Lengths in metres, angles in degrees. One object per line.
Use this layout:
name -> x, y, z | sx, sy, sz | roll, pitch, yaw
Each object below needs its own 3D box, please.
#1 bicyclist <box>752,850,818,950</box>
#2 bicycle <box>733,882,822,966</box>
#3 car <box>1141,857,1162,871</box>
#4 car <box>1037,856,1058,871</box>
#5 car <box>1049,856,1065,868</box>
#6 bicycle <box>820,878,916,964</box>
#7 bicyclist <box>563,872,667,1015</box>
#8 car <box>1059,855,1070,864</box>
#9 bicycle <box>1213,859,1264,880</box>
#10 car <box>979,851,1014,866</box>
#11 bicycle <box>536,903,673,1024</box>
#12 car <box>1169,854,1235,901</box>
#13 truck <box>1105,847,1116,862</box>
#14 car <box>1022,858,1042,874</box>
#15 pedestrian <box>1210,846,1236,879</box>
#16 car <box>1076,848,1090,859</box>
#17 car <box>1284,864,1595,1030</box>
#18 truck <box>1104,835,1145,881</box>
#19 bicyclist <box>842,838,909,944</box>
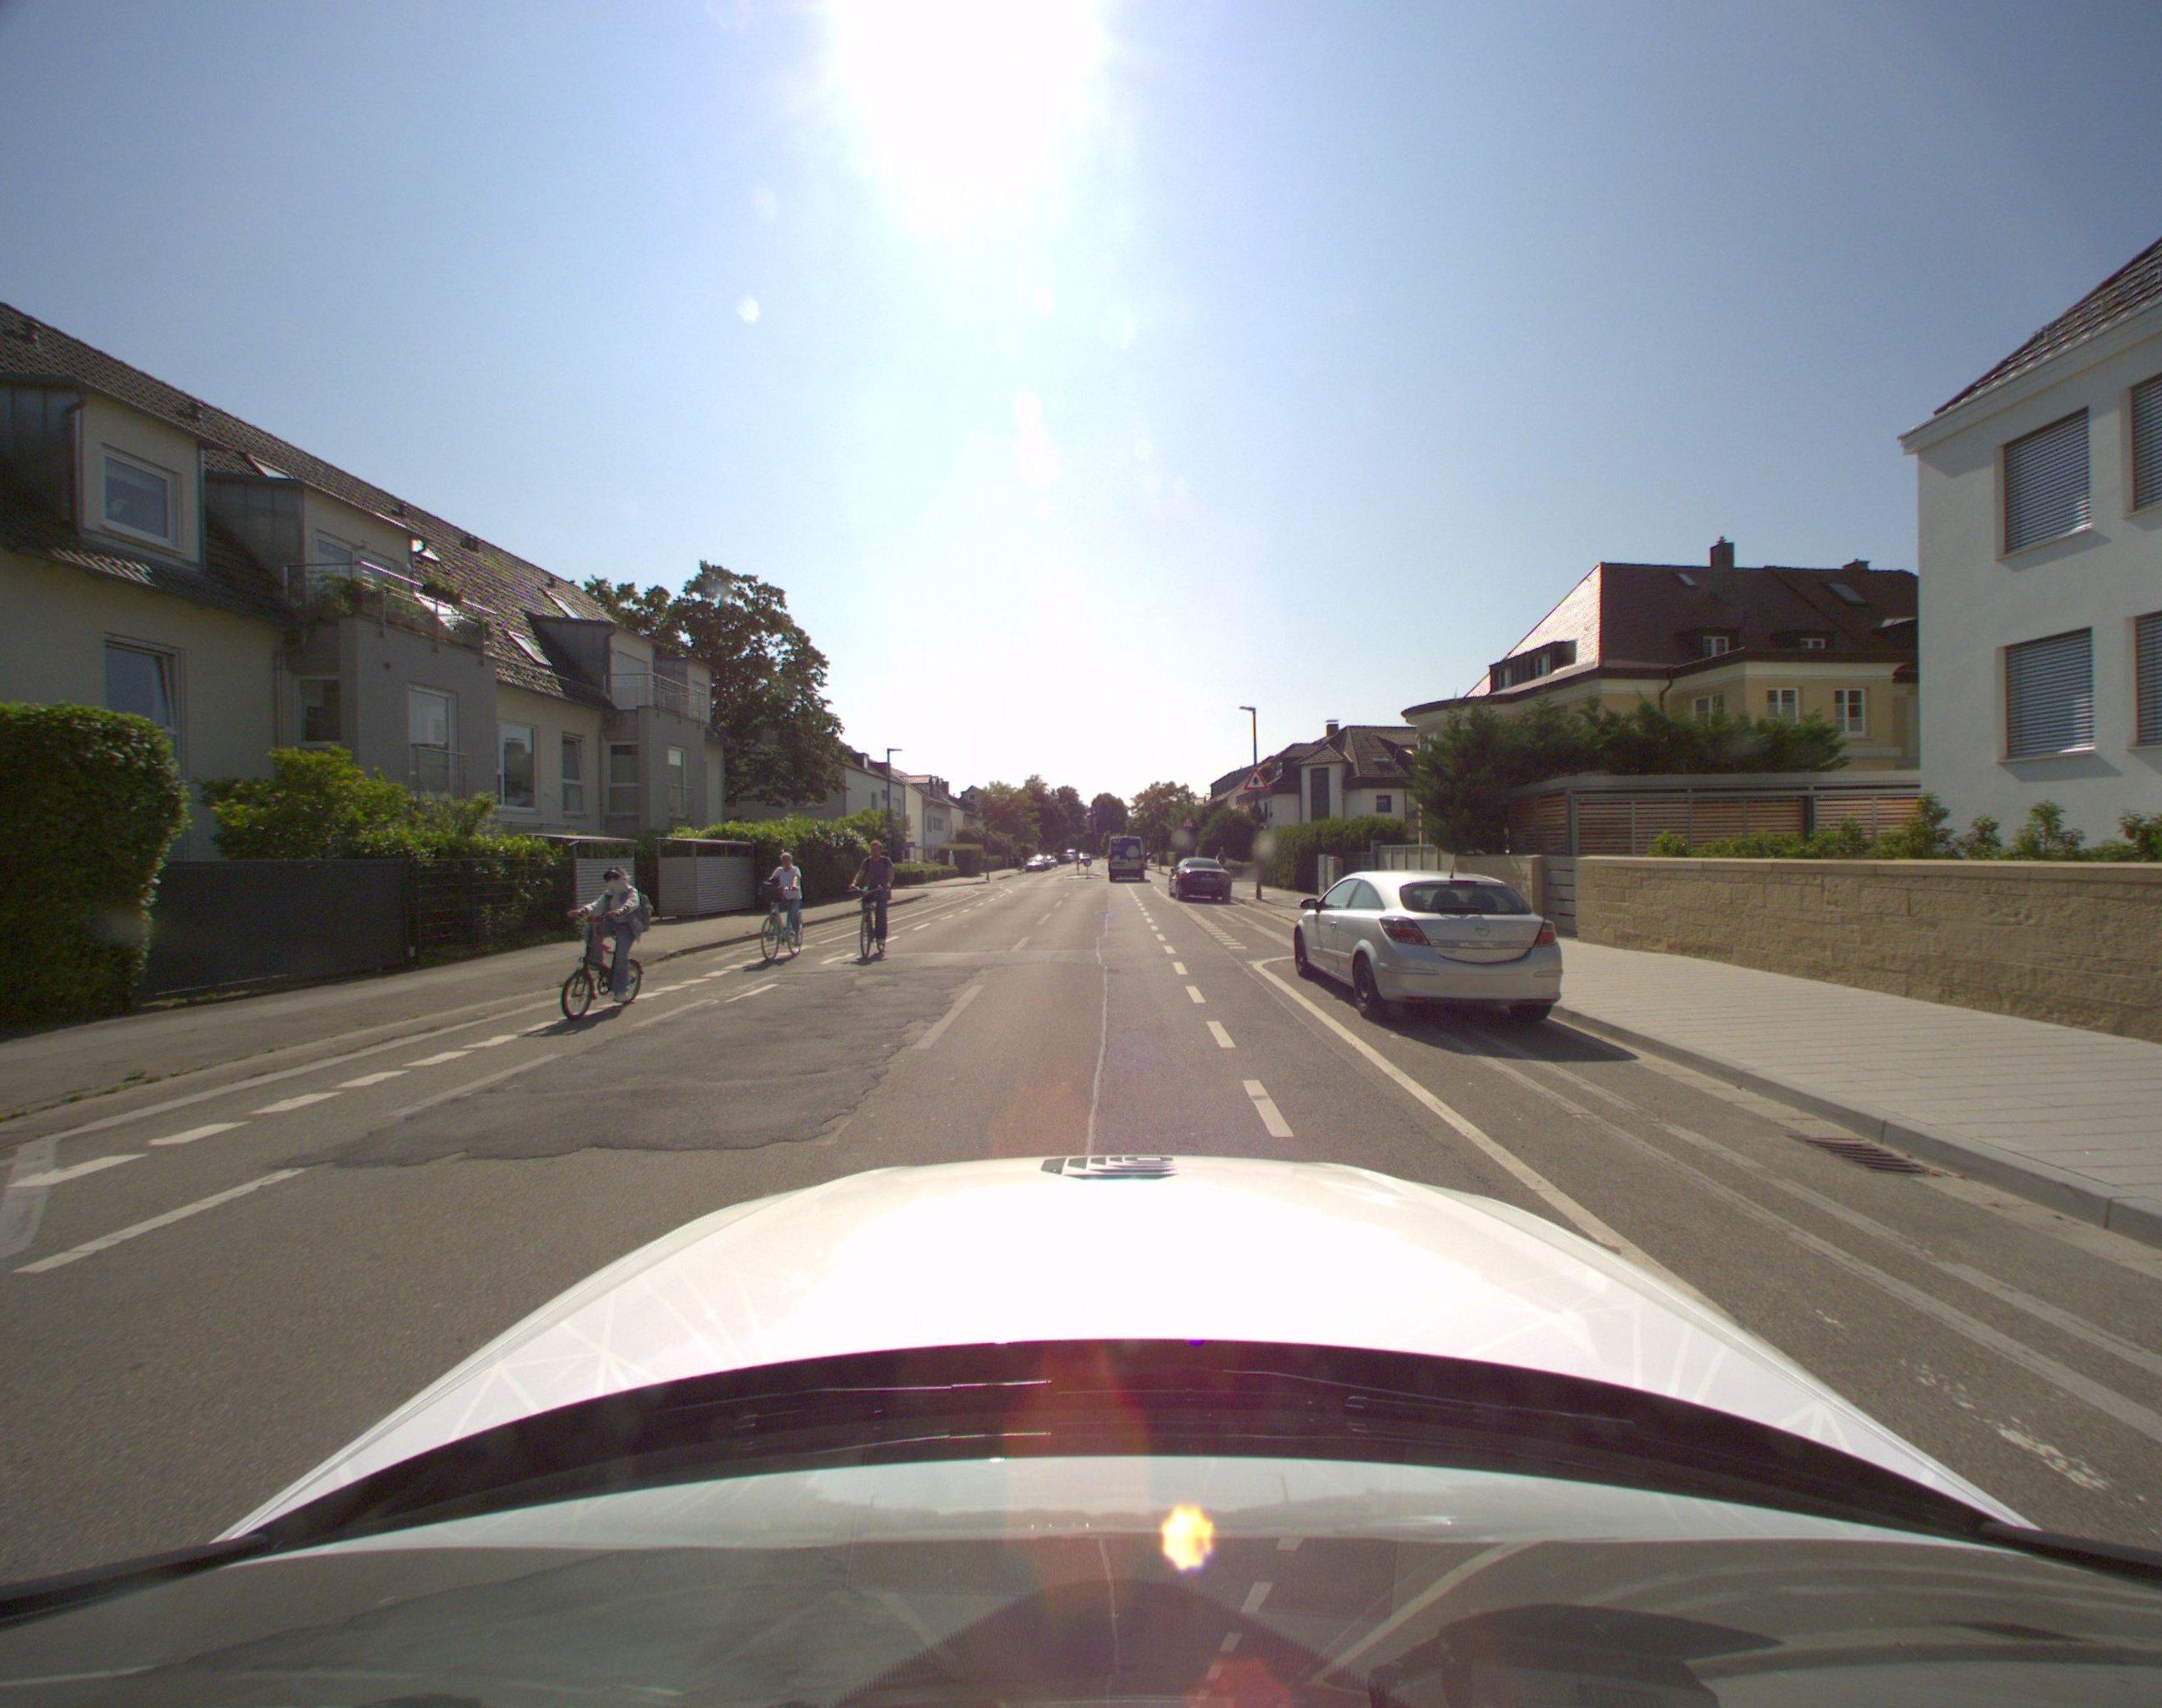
bicyclist -> -4.922, 0.746, 13.586 | 0.673, 1.580, 0.860 | -3, -1, 2
bicycle -> -4.931, 1.105, 13.385 | 0.557, 1.185, 2.037 | -3, 0, 2
car -> 7.193, 1.000, 83.285 | 1.734, 1.402, 4.073 | -2, -1, 0
car -> -3.493, 1.006, 86.470 | 1.777, 1.440, 4.114 | -2, 0, 3
car -> -3.037, 0.973, 103.388 | 1.779, 1.440, 4.001 | -2, 0, 1
bicycle -> -3.375, 1.024, 13.177 | 0.779, 1.166, 2.421 | -3, 0, 2
bicyclist -> -5.121, 0.948, 9.001 | 0.488, 1.454, 0.965 | -3, -1, 2
car -> -2.759, 0.920, 137.844 | 1.775, 1.460, 4.086 | -2, 0, 1
bicycle -> 8.777, 0.875, 45.482 | 2.676, 1.158, 0.869 | -1, 0, 34
car -> -10.162, 0.500, 98.046 | 3.972, 1.759, 2.001 | -1, 0, 1
bicycle -> -5.127, 1.145, 8.853 | 0.598, 1.105, 1.347 | -3, 0, 2
car -> 4.043, 0.758, 27.781 | 1.730, 1.468, 4.347 | 1, 0, 2
truck -> 6.065, 0.110, 169.118 | 2.205, 2.946, 5.689 | -1, 0, 2
car -> -4.769, 1.153, 79.906 | 1.780, 1.440, 4.152 | -2, 0, -1
pedestrian -> 8.223, 0.515, 47.215 | 0.904, 1.872, 1.177 | -1, -1, -32
car -> 0.362, -0.040, 130.916 | 1.907, 1.666, 4.509 | -3, 0, 3
car -> 3.527, 0.816, 8.908 | 1.730, 1.329, 4.078 | 2, -1, 2
truck -> 2.601, 0.221, 48.453 | 2.263, 2.571, 4.396 | -1, 0, 3
bicyclist -> -3.412, 0.596, 13.605 | 0.746, 1.667, 1.022 | -3, -1, 2
